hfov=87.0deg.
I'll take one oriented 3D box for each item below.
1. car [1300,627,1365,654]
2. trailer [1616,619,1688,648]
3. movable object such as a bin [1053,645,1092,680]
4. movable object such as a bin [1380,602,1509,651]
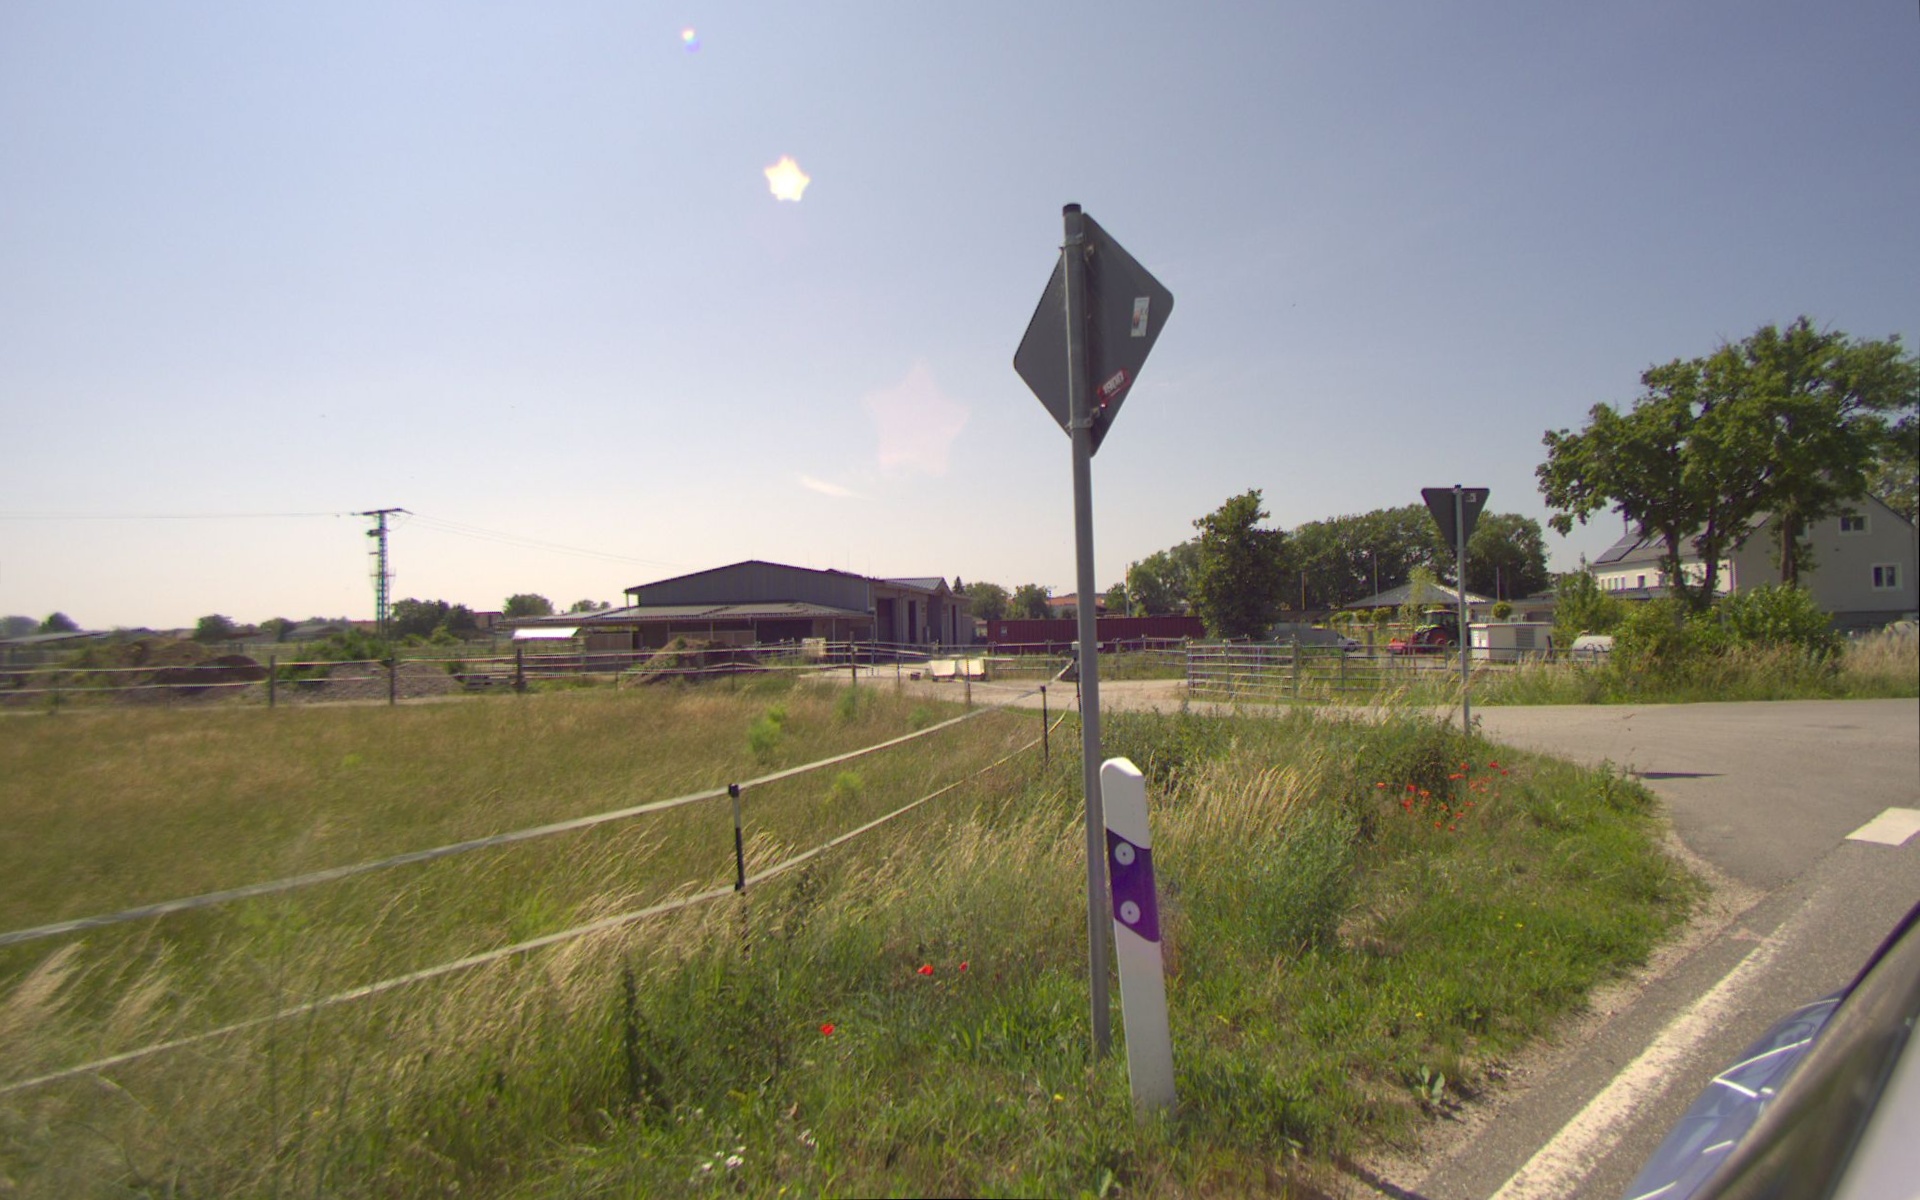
[{"bbox_3d":[25.970,2.801,70.587,3.812,1.594,1.994,-4,-2,9],"label":"car"},{"bbox_3d":[41.560,2.021,60.825,3.100,1.516,1.705,-4,-3,19],"label":"trailer"},{"bbox_3d":[4.800,2.657,43.299,1.489,1.367,1.372,-2,-2,2],"label":"movable object such as a bin"},{"bbox_3d":[30.126,1.667,63.134,6.379,2.806,3.011,-1,-3,-1],"label":"movable object such as a bin"}]
